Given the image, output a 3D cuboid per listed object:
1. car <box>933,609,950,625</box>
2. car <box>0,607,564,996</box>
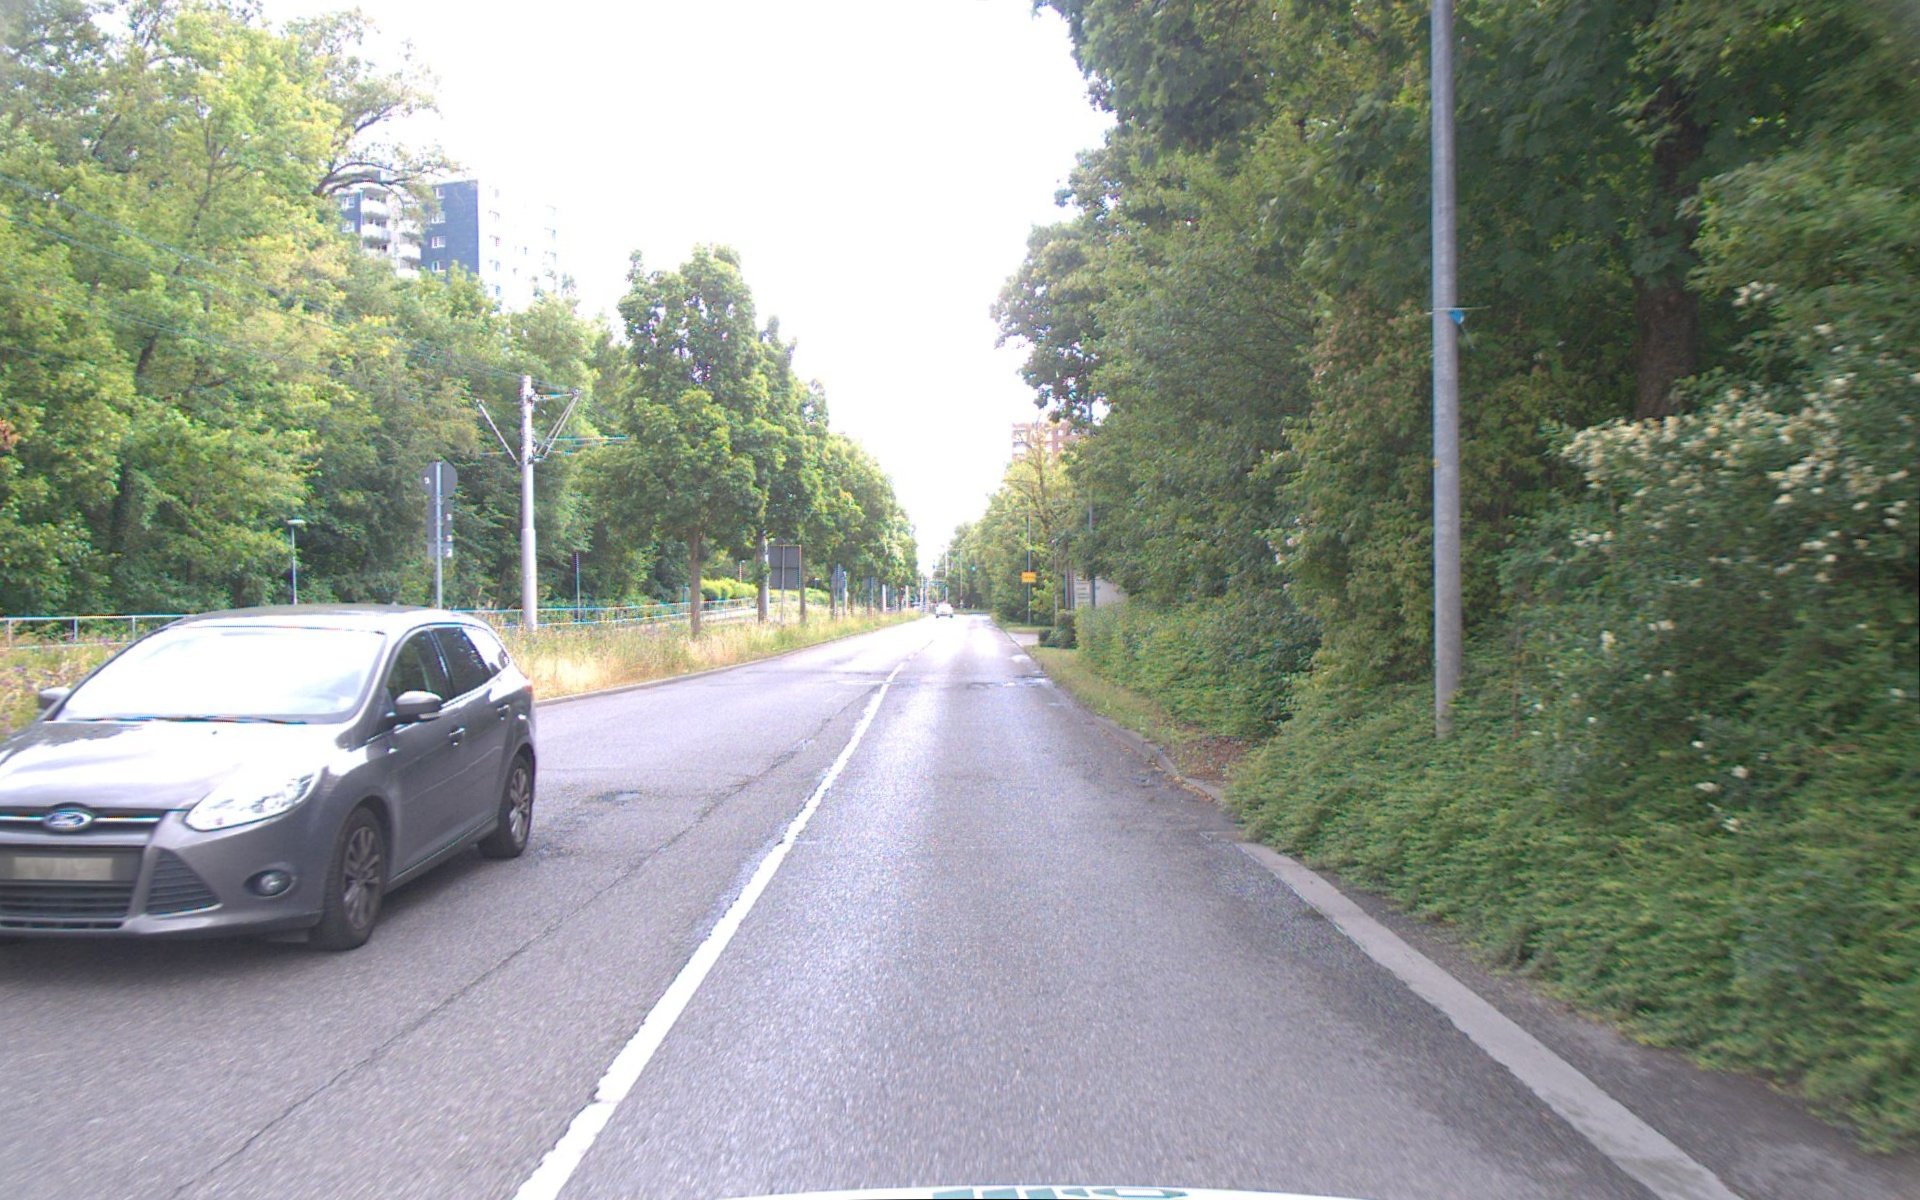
[{"bbox_3d":[-1.999,1.824,177.630,1.681,1.658,4.000,-2,0,1],"label":"car"},{"bbox_3d":[-3.396,0.771,8.476,1.720,1.460,4.428,0,0,-1],"label":"car"}]
